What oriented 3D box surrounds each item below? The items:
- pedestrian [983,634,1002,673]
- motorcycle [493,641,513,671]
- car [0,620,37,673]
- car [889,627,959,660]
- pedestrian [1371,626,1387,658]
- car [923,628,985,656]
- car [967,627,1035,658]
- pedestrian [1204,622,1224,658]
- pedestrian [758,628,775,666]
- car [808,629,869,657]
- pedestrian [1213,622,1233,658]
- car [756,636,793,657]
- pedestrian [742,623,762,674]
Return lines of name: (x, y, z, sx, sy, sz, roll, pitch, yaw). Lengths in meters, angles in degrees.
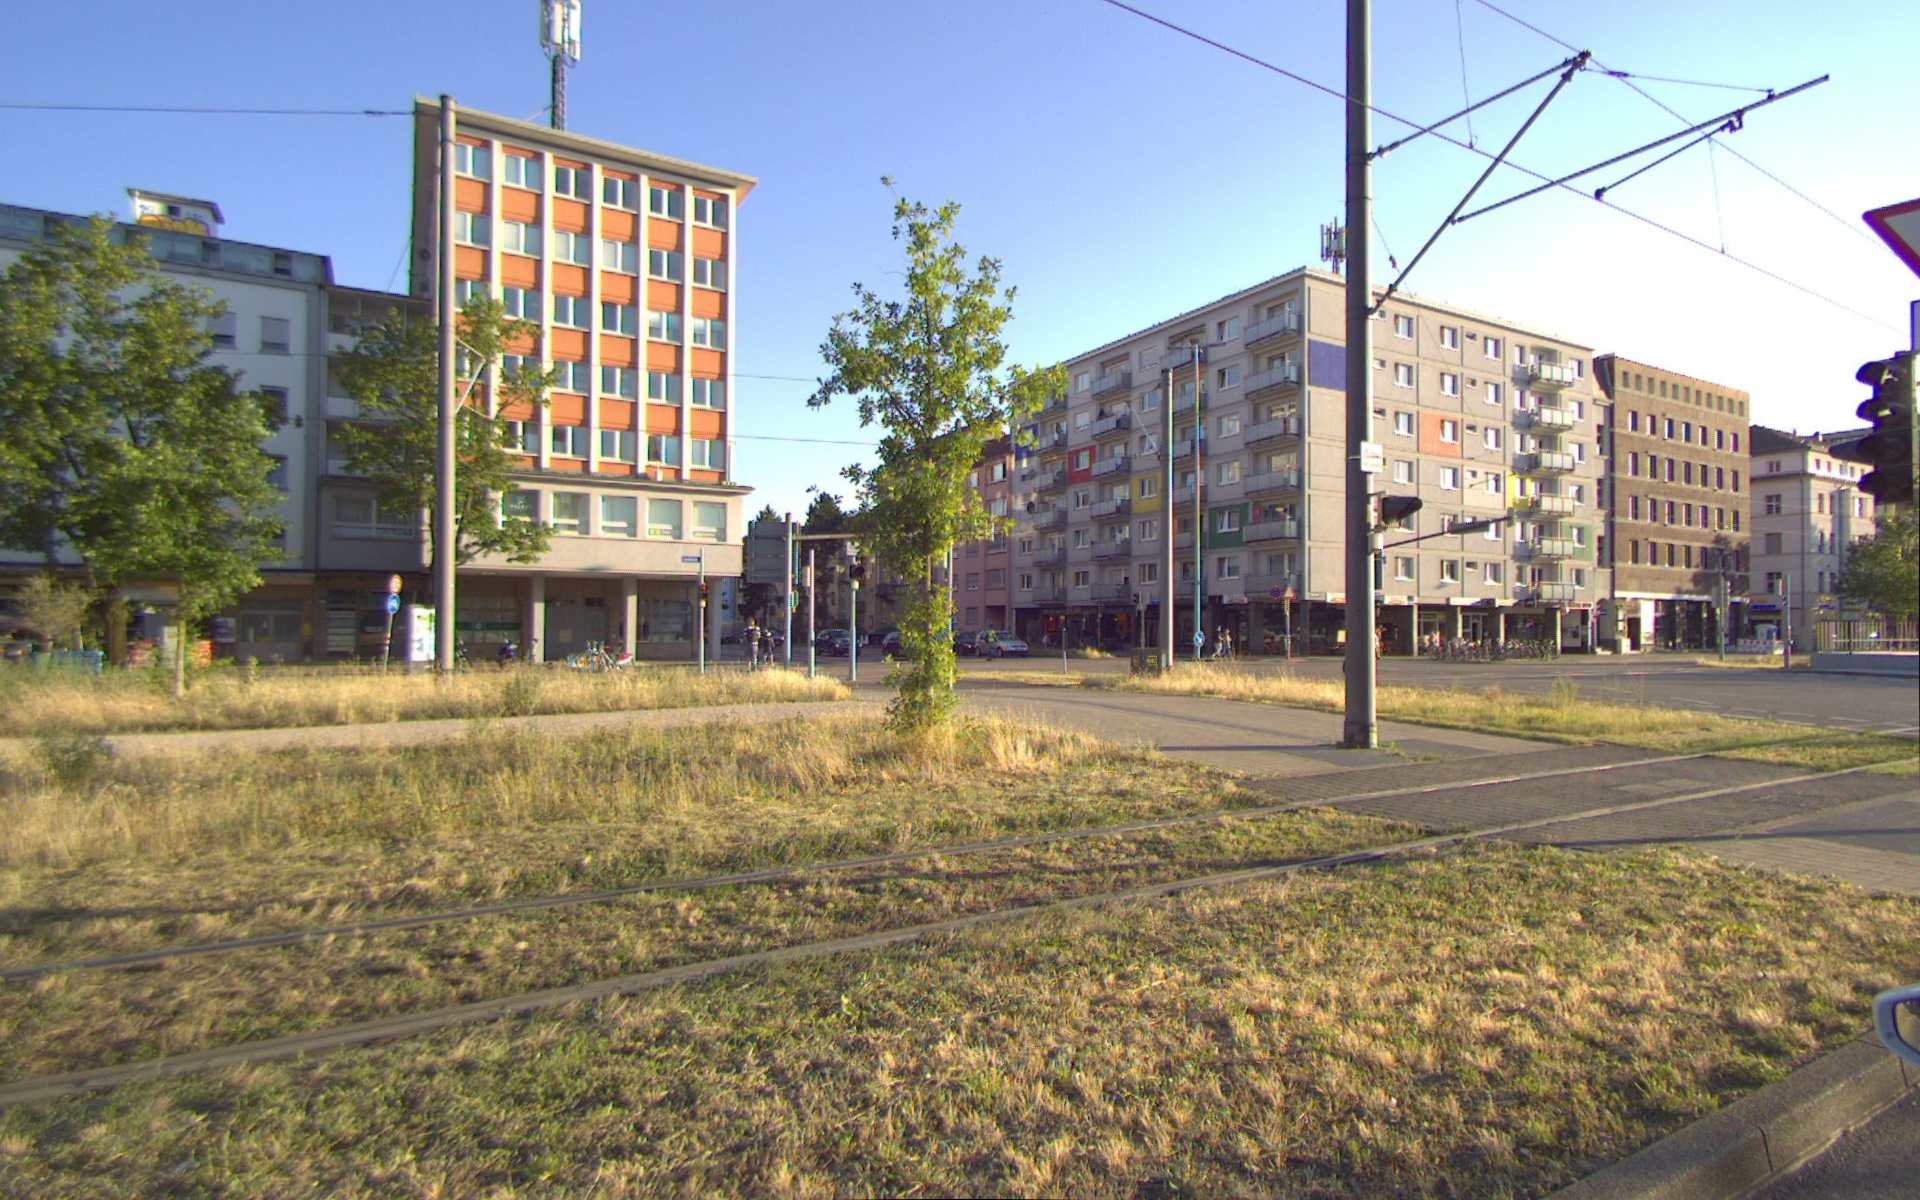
pedestrian: (1.566, 2.582, 48.794, 0.673, 1.872, 0.630, -1, -1, -30)
motorcycle: (-17.377, 2.111, 38.213, 0.525, 1.082, 1.442, 0, -1, -31)
car: (-30.286, 1.397, 29.630, 4.213, 1.547, 1.758, -1, -1, -8)
car: (-1.893, 2.259, 51.975, 1.786, 1.605, 3.840, 0, -2, -35)
pedestrian: (22.701, 2.263, 54.460, 0.768, 1.692, 0.741, -1, -1, 23)
car: (-0.380, 2.459, 59.539, 1.786, 1.606, 3.839, 0, -1, -35)
car: (2.244, 2.333, 55.414, 1.786, 1.606, 3.839, 0, -1, -35)
pedestrian: (13.623, 2.149, 53.797, 0.728, 1.876, 0.701, -1, -1, -30)
pedestrian: (-8.569, 2.070, 44.507, 0.608, 1.651, 0.512, -1, -1, -30)
car: (-7.488, 2.624, 61.534, 1.969, 1.606, 4.252, 0, -1, -35)
pedestrian: (13.893, 2.130, 53.083, 0.812, 1.872, 0.599, -1, -1, -30)
car: (-15.304, 3.812, 82.754, 1.804, 1.572, 3.969, 0, -1, -30)
pedestrian: (-7.350, 1.709, 35.520, 0.638, 1.786, 0.721, -1, -1, -9)
